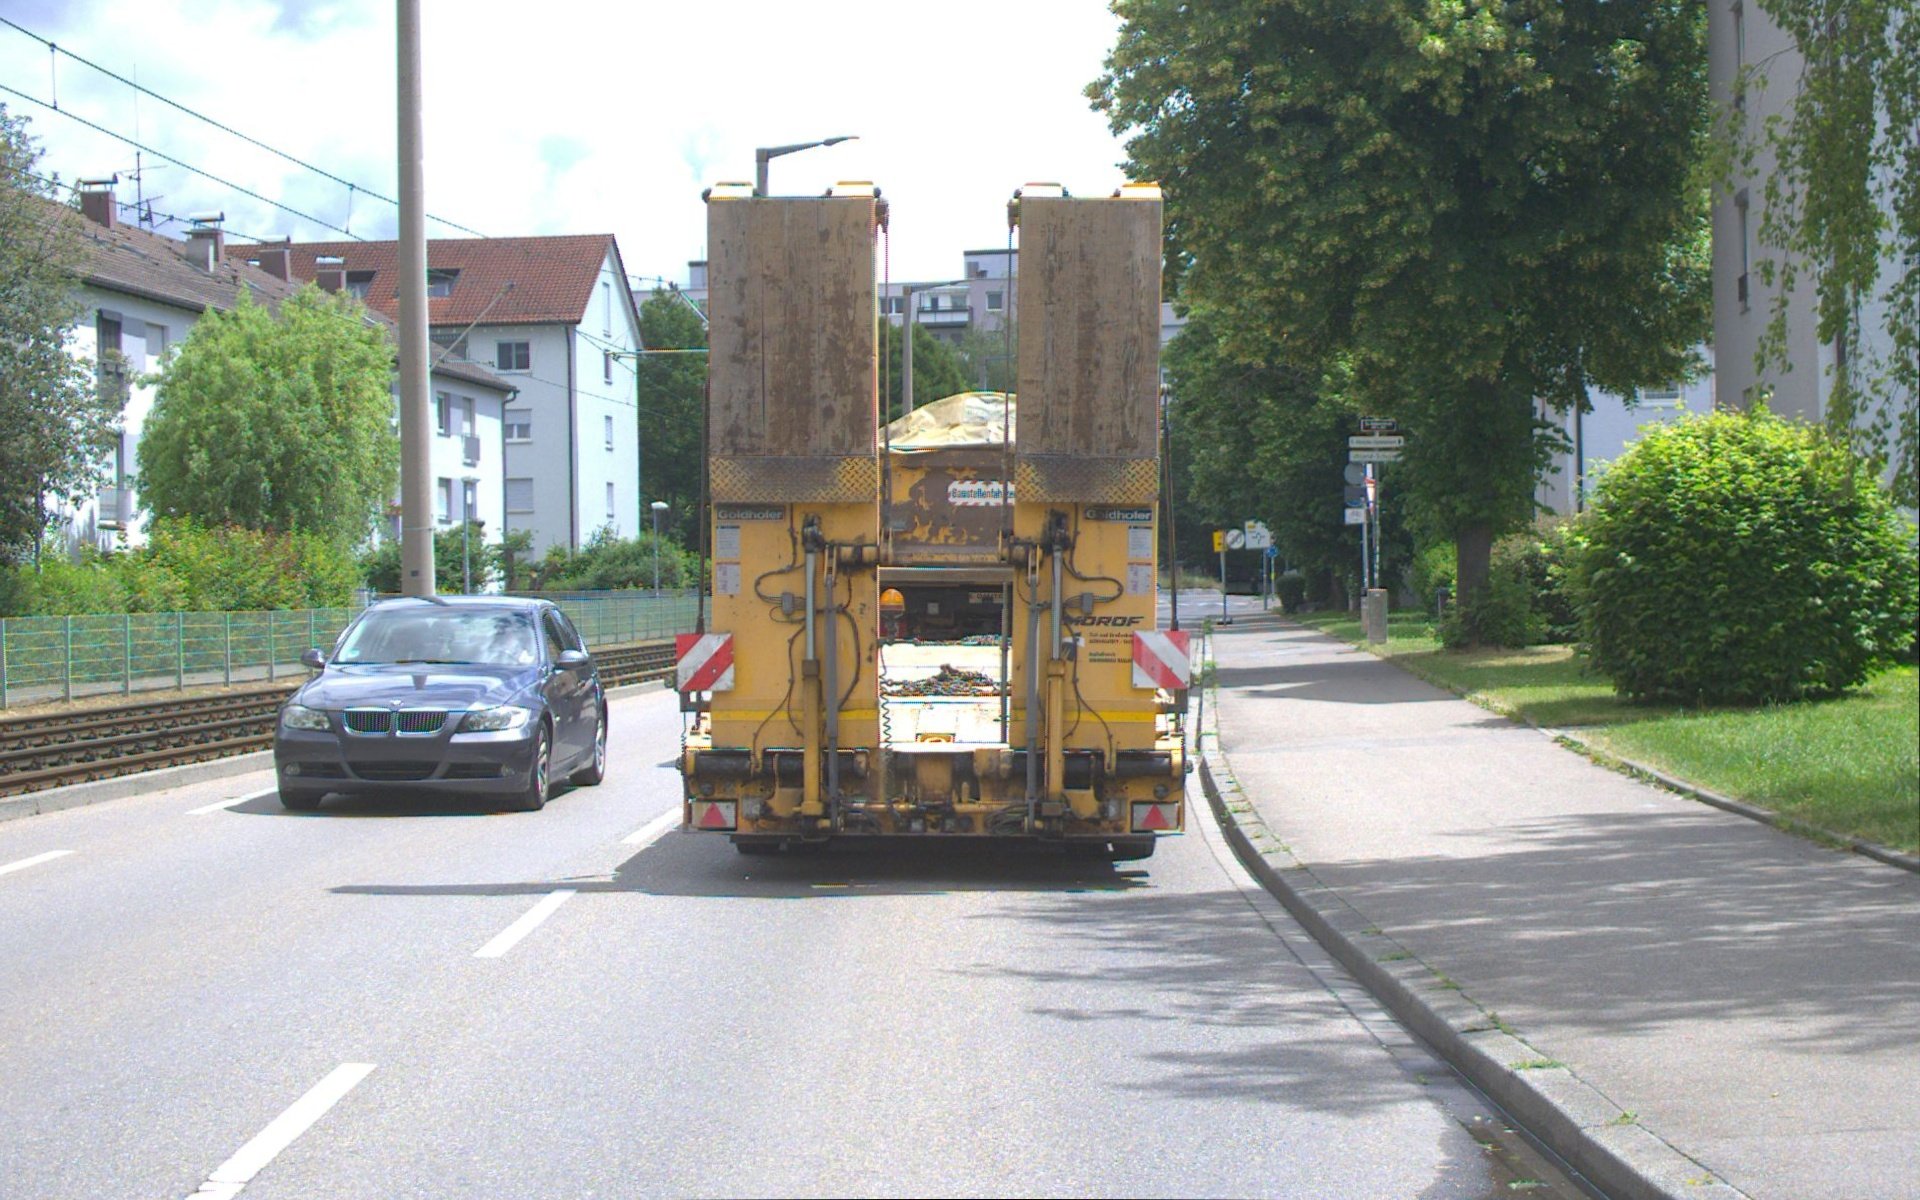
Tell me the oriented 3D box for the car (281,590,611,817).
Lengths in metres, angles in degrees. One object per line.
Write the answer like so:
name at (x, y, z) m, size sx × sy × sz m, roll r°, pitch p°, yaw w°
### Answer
car at (-3.472, 0.649, 23.888) m, size 1.628 × 1.427 × 4.167 m, roll 0°, pitch 0°, yaw 0°

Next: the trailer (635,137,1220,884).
trailer at (-0.195, -0.431, 23.059) m, size 2.827 × 3.633 × 12.354 m, roll 1°, pitch 0°, yaw 0°

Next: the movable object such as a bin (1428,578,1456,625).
movable object such as a bin at (10.089, 0.037, 71.963) m, size 0.496 × 0.951 × 0.580 m, roll -2°, pitch 0°, yaw 4°
